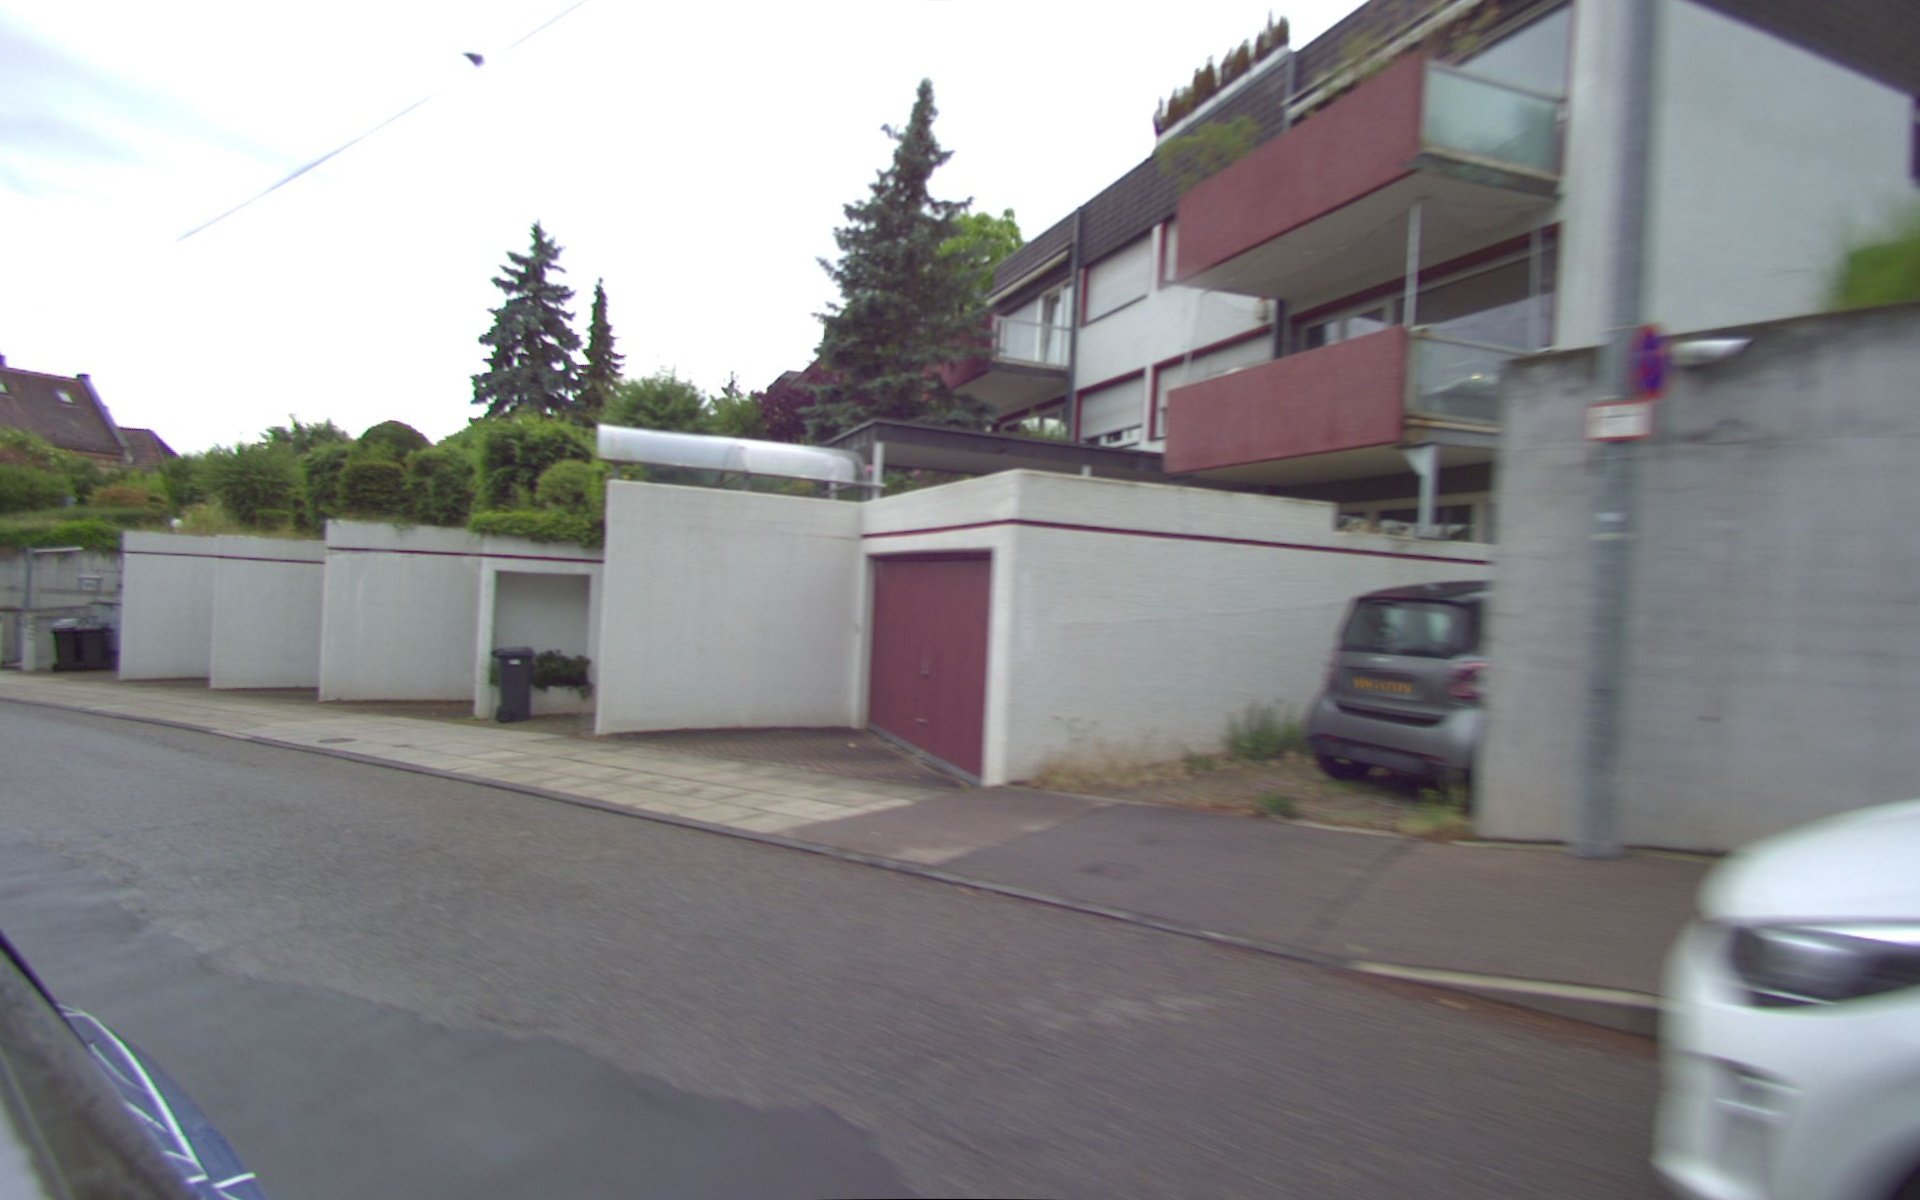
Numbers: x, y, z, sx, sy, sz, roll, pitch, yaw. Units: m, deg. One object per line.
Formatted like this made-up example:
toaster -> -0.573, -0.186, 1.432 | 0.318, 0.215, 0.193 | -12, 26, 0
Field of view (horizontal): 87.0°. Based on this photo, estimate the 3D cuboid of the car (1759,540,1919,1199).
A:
car -> 3.465, 0.643, 1.226 | 3.831, 1.527, 1.610 | -1, -2, 42

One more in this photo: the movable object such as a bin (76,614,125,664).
movable object such as a bin -> -18.289, 0.821, 21.552 | 0.599, 0.999, 0.603 | -2, 1, -19

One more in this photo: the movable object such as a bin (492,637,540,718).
movable object such as a bin -> -5.673, 0.973, 12.937 | 0.535, 0.970, 0.648 | -1, -1, -23

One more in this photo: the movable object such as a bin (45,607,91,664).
movable object such as a bin -> -18.838, 0.739, 21.378 | 0.519, 1.155, 0.603 | -1, 1, -19

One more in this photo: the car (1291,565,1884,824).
car -> 4.675, 0.548, 7.599 | 3.863, 1.489, 1.773 | -2, 0, -21
